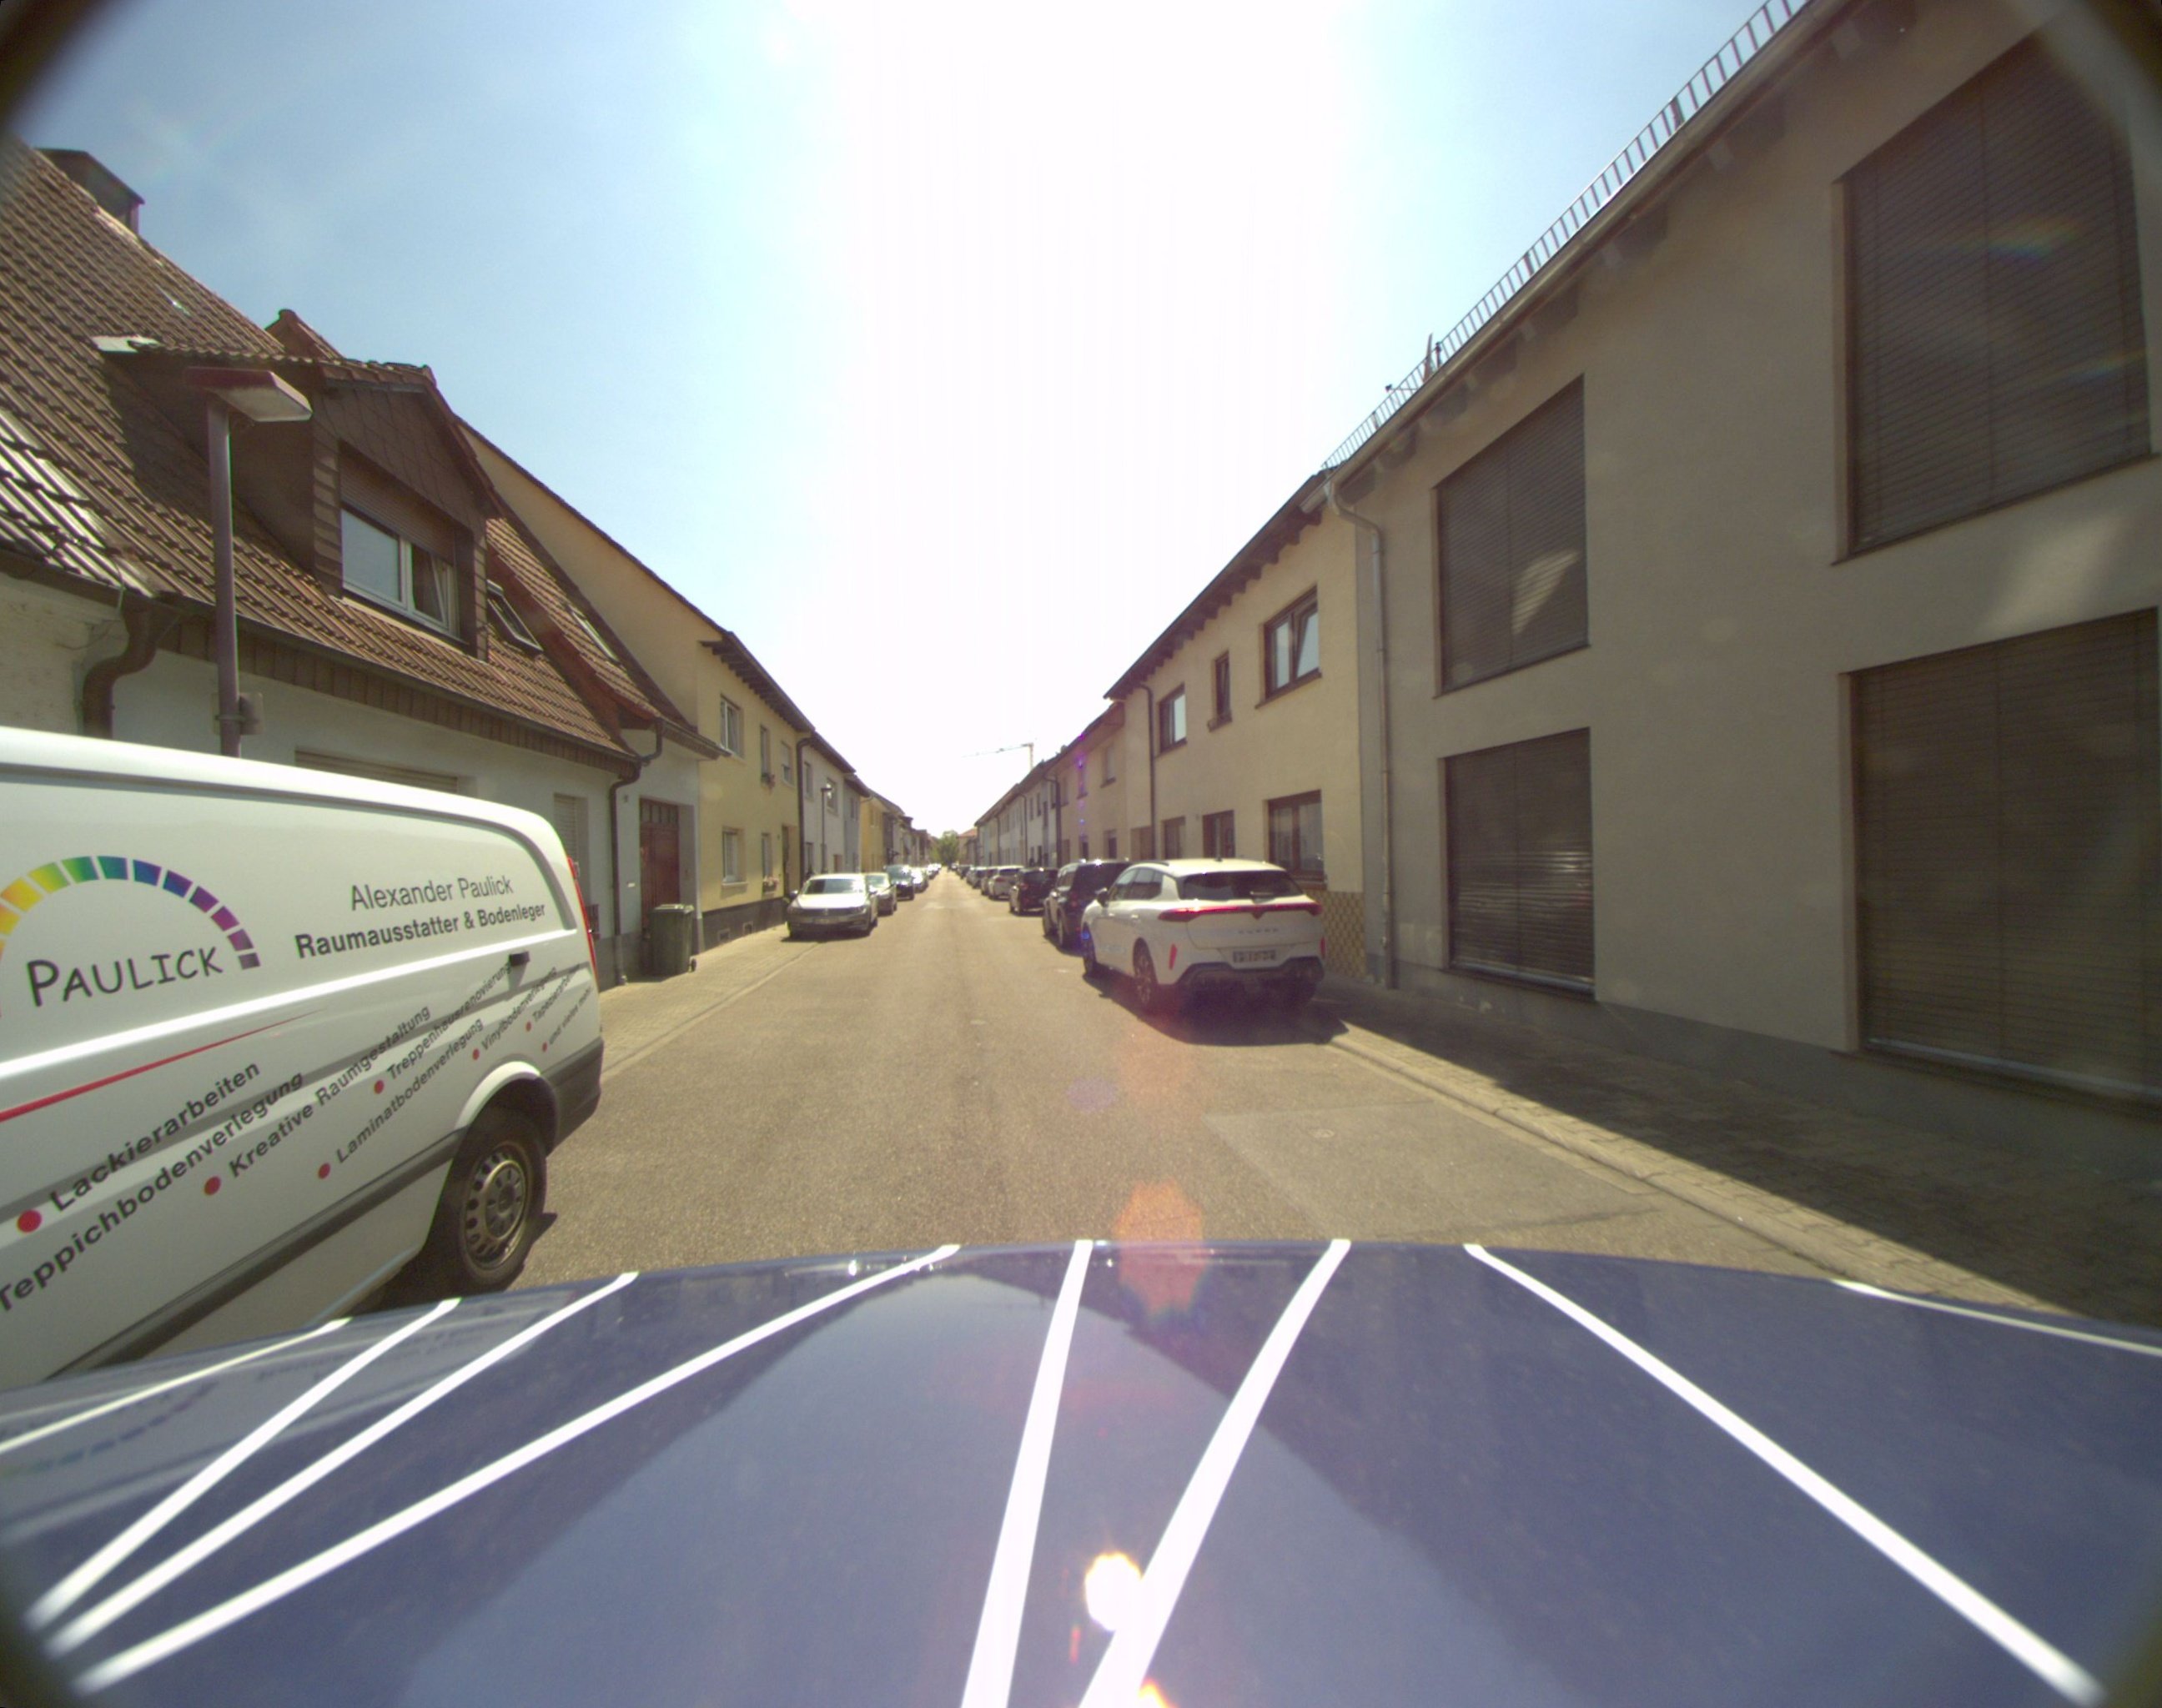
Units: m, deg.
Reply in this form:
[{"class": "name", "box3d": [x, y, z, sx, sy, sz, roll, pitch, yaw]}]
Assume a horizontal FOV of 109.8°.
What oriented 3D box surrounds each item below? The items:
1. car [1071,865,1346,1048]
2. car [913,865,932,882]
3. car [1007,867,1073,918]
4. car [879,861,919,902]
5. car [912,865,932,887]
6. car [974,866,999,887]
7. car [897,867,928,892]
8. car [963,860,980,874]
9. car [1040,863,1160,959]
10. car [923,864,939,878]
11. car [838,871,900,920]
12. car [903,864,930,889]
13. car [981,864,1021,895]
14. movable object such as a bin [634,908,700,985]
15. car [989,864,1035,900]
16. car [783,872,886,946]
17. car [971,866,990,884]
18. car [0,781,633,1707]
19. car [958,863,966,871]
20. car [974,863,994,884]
[{"class": "car", "box3d": [1.190, 0.956, 9.177, 1.780, 1.606, 4.344, -1, 0, -12]}, {"class": "car", "box3d": [-15.497, 1.889, 74.497, 1.744, 1.459, 4.041, -3, 0, -11]}, {"class": "car", "box3d": [-1.432, 1.210, 25.309, 1.646, 1.528, 3.938, -1, 0, -11]}, {"class": "car", "box3d": [-8.952, 1.293, 37.632, 1.702, 1.767, 4.195, -2, 1, -11]}, {"class": "car", "box3d": [-12.306, 1.691, 58.780, 1.405, 1.518, 3.395, -3, 0, -11]}, {"class": "car", "box3d": [-6.706, 1.561, 53.708, 1.608, 1.434, 3.211, -1, -1, -9]}, {"class": "car", "box3d": [-10.555, 1.577, 47.780, 1.667, 1.406, 4.244, -1, 0, -10]}, {"class": "car", "box3d": [-13.096, 1.564, 90.493, 1.820, 1.597, 3.884, -1, 0, -10]}, {"class": "car", "box3d": [0.238, 1.011, 15.189, 1.728, 1.606, 3.986, -1, 0, -8]}, {"class": "car", "box3d": [-18.242, 2.034, 92.713, 1.737, 1.502, 3.620, -3, 0, -10]}, {"class": "car", "box3d": [-7.329, 1.380, 26.557, 1.702, 1.427, 4.099, -3, 0, -11]}, {"class": "car", "box3d": [-11.507, 1.542, 53.224, 1.685, 1.575, 3.958, -2, 0, -12]}, {"class": "car", "box3d": [-4.413, 1.359, 41.359, 1.669, 1.532, 3.684, -2, 0, -13]}, {"class": "movable object such as a bin", "box3d": [-6.384, 1.406, 11.756, 0.661, 1.065, 0.812, -1, 0, -12]}, {"class": "car", "box3d": [-3.336, 1.263, 36.044, 1.669, 1.540, 3.938, -1, 0, -13]}, {"class": "car", "box3d": [-6.044, 1.265, 19.139, 1.845, 1.440, 4.771, -3, 0, -11]}, {"class": "car", "box3d": [-8.440, 1.710, 63.693, 1.415, 1.446, 3.459, -1, 0, -9]}, {"class": "car", "box3d": [-2.928, 0.822, 1.206, 2.019, 1.828, 5.260, -3, 0, -10]}, {"class": "car", "box3d": [-21.606, 2.369, 137.698, 1.415, 1.389, 3.321, -1, 0, -10]}, {"class": "car", "box3d": [-7.480, 1.501, 58.587, 1.415, 1.519, 3.023, -1, 0, -9]}]
